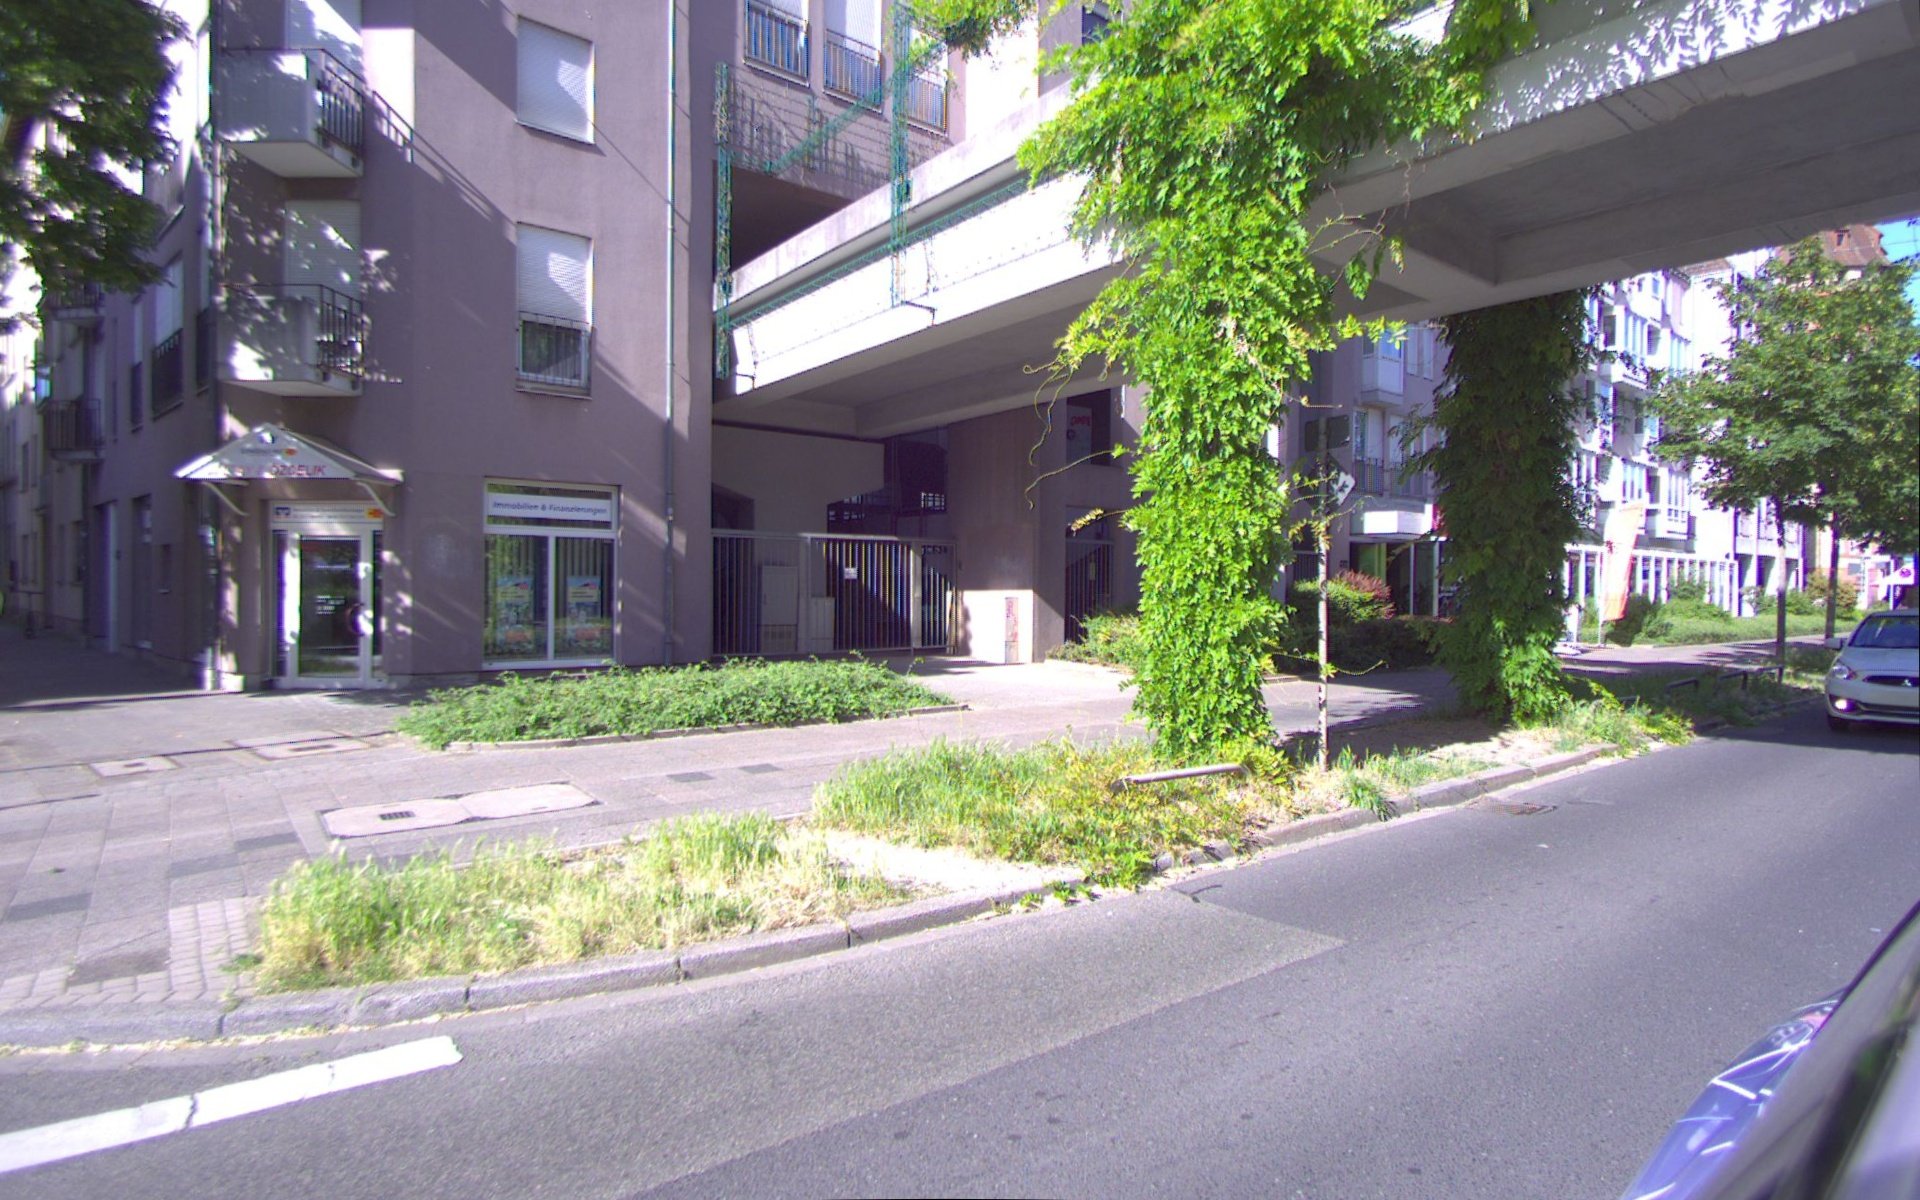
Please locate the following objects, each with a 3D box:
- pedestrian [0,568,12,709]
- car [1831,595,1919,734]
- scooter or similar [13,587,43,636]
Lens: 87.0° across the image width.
[{"bbox_3d":[-11.092,0.434,11.258,0.621,1.596,0.532,0,1,-14],"label":"pedestrian"},{"bbox_3d":[12.452,0.728,12.683,4.026,1.549,1.663,0,1,-39],"label":"car"},{"bbox_3d":[-23.240,0.279,25.236,1.369,1.161,0.414,1,2,43],"label":"scooter or similar"}]
